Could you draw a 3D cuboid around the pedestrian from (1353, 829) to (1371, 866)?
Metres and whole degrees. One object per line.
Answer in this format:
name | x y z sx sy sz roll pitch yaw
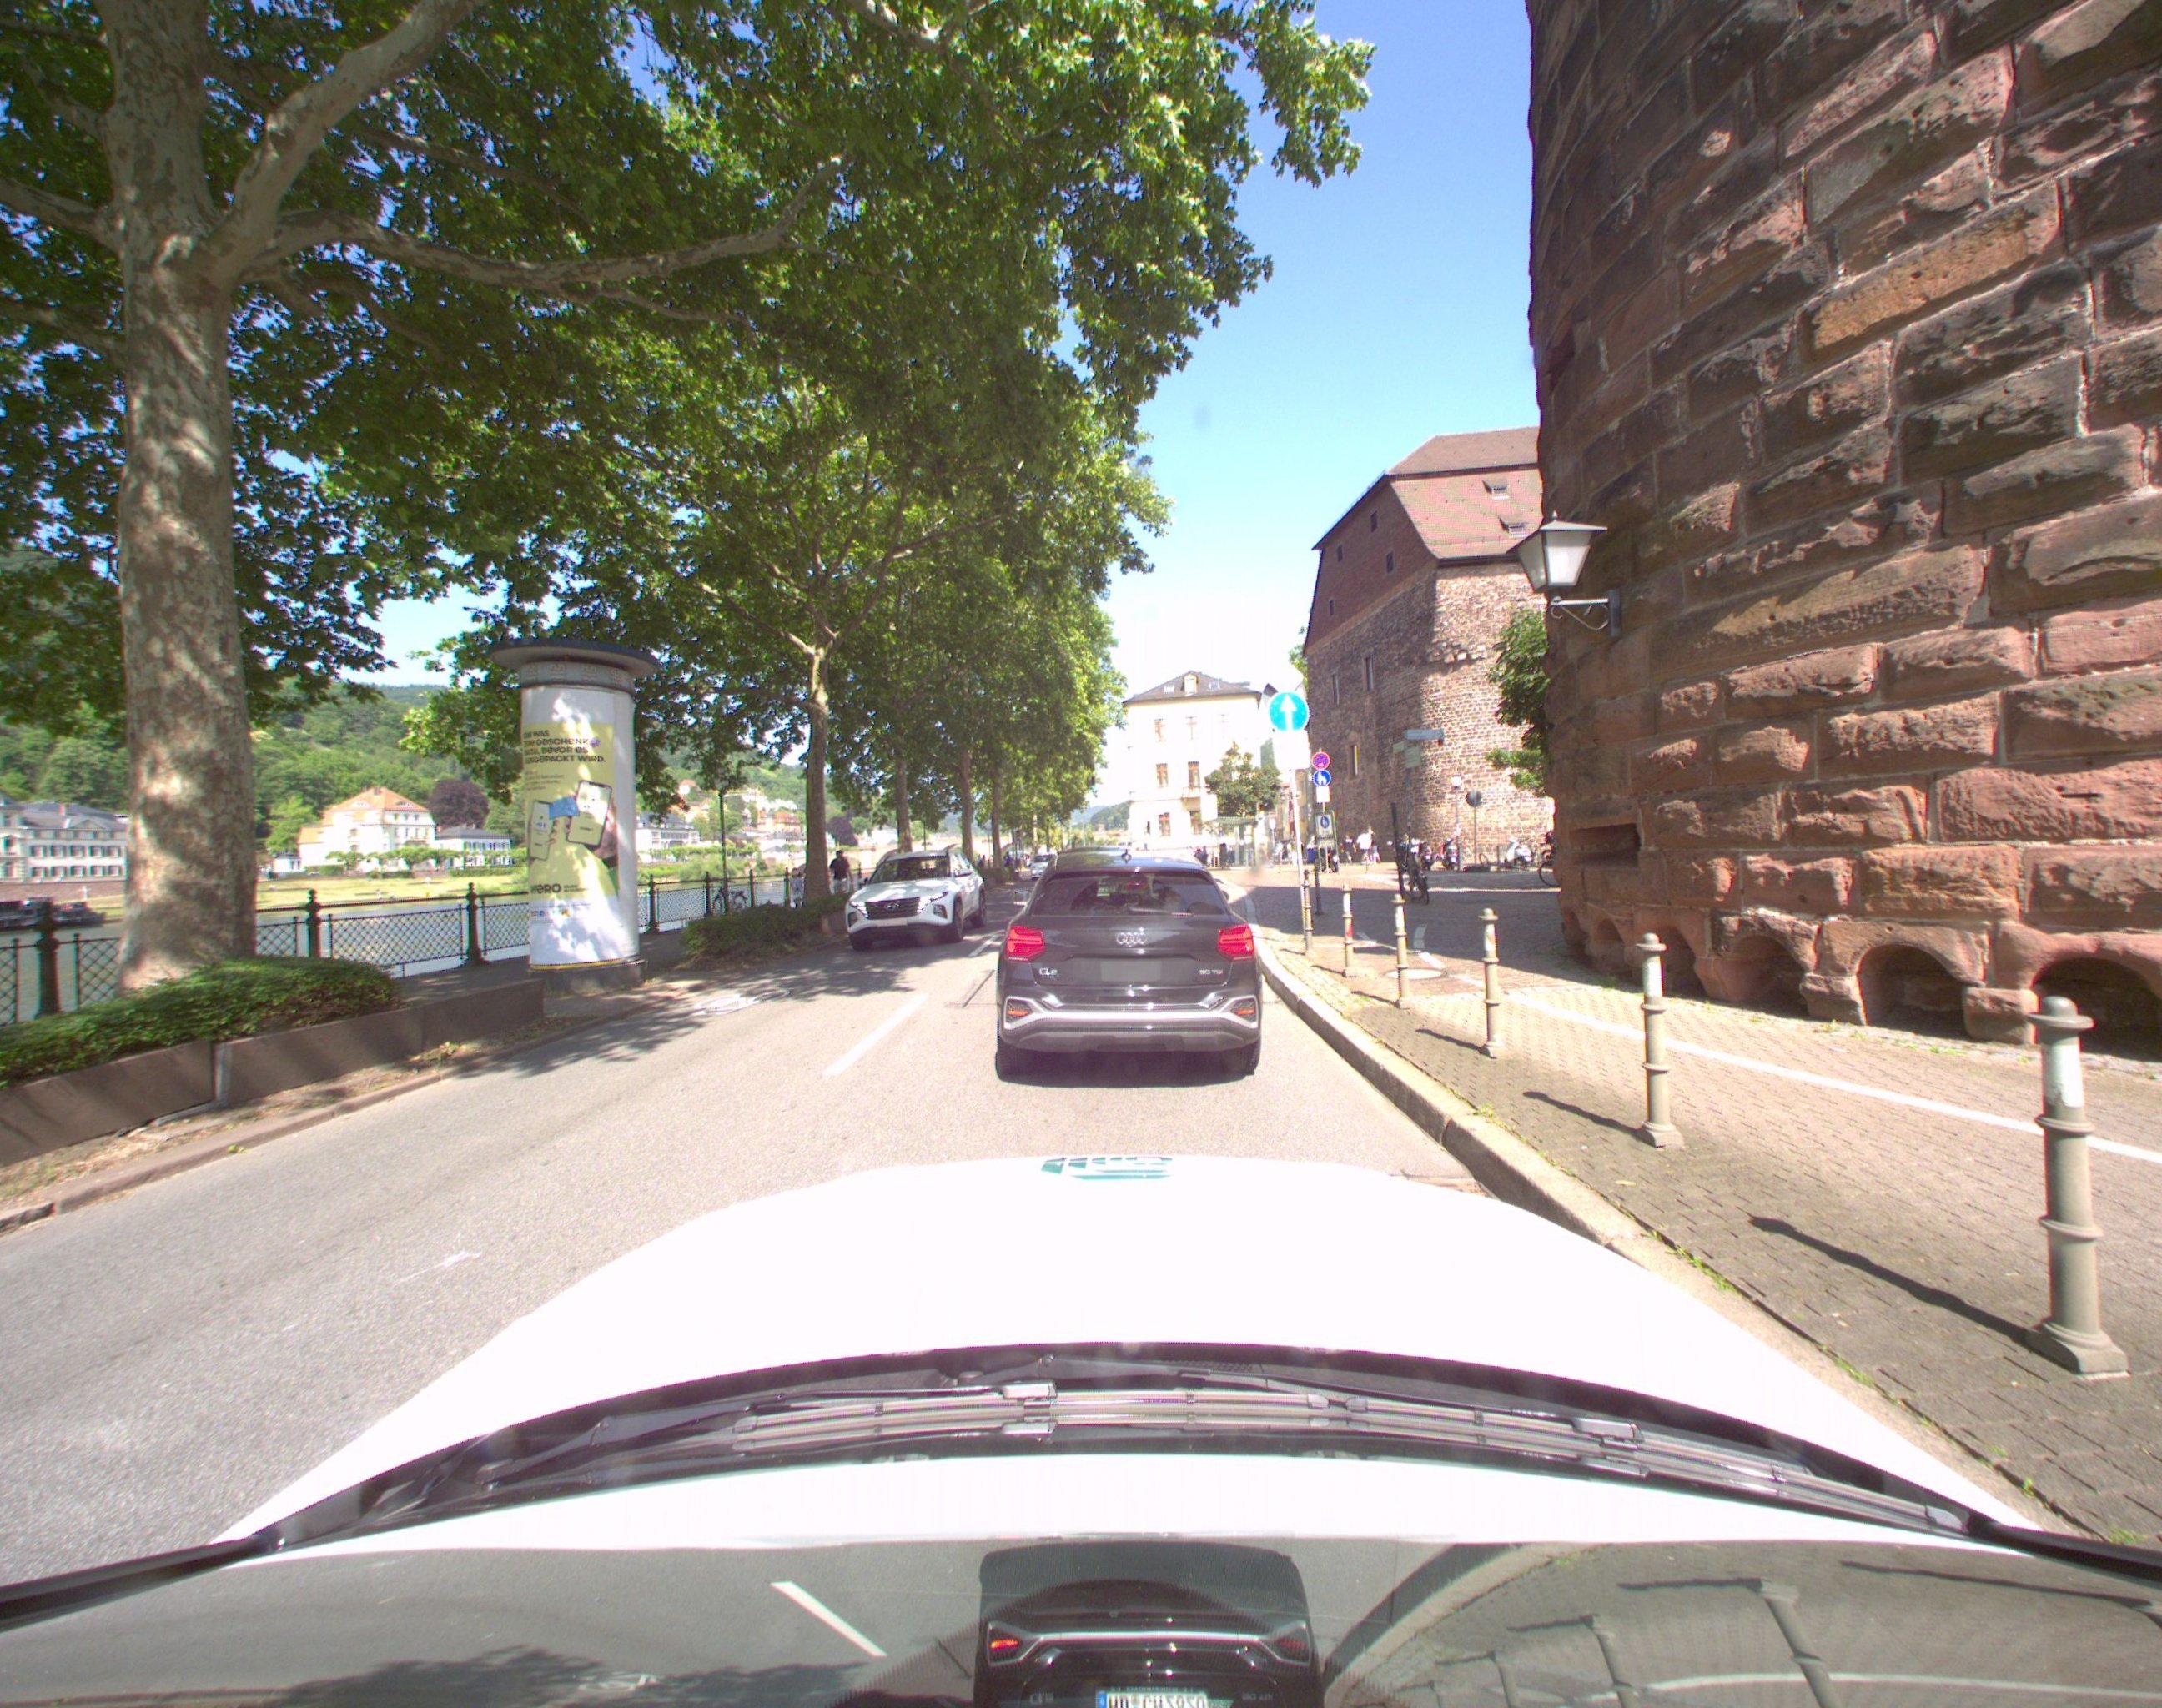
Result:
pedestrian | 14.448 -0.340 41.898 0.666 1.884 0.821 0 -1 1

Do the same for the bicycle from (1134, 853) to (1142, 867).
bicycle | 4.276 0.448 61.135 0.436 1.086 1.675 0 -1 -2

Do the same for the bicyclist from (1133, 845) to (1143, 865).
bicyclist | 4.277 0.079 61.111 0.604 1.450 0.590 0 -1 -3

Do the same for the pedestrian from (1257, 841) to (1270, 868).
pedestrian | 9.543 0.011 42.617 0.555 1.385 0.588 -1 -1 4

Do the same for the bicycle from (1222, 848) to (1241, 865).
bicycle | 9.055 0.163 48.925 1.205 1.035 0.178 0 -1 -17

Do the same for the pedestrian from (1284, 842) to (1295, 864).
pedestrian | 19.139 -0.071 74.738 0.836 2.014 0.738 0 -1 2

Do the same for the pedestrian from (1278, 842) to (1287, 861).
pedestrian | 16.831 -0.225 67.997 0.620 1.532 0.466 0 -1 -1

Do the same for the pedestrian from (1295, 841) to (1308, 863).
pedestrian | 20.242 -0.215 74.766 0.936 2.014 0.808 0 -1 2

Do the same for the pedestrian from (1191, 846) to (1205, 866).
pedestrian | 6.909 0.118 48.114 0.662 1.211 0.640 0 -1 -5

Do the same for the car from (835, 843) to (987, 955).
car | -2.974 0.726 15.138 1.762 1.660 4.001 -5 0 1

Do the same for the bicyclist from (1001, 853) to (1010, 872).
bicyclist | -5.221 0.582 56.103 0.565 1.311 0.551 0 -1 -3

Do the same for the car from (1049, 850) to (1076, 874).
car | -1.487 0.623 68.127 1.806 1.725 4.423 -8 0 2

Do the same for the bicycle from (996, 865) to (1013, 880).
bicycle | -5.268 1.260 56.115 1.091 1.006 0.303 -1 -1 -5

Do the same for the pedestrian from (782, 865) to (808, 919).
pedestrian | -7.451 0.987 21.254 0.476 1.362 0.418 -1 0 5

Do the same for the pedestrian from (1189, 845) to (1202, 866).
pedestrian | 6.862 0.099 48.866 0.662 1.231 0.640 0 -1 -5

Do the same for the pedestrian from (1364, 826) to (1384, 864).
pedestrian | 15.600 -0.485 43.387 0.727 2.014 0.878 0 -1 1

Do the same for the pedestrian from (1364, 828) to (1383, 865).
pedestrian | 15.233 -0.390 42.405 0.666 1.920 0.821 0 -1 1

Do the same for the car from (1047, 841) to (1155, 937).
car | 0.390 0.582 15.287 1.786 1.595 3.400 0 0 2

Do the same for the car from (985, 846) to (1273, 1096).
car | 0.347 0.696 6.756 1.736 1.509 3.649 0 0 2

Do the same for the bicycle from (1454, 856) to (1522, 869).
bicycle | 13.633 0.284 27.358 1.914 0.381 0.921 -2 -1 16

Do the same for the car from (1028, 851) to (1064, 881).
car | -2.111 0.675 49.731 1.732 1.572 4.093 -6 0 2

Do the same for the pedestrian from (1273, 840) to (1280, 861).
pedestrian | 16.278 -0.283 67.970 0.448 1.680 0.466 0 -1 -1

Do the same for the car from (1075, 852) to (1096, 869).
car | 0.516 0.678 87.196 1.985 1.806 4.003 -1 -1 3

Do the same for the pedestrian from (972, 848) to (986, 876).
pedestrian | -7.276 0.585 58.133 0.906 2.014 0.587 -1 -1 6

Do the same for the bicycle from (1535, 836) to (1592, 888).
bicycle | 11.521 0.178 19.486 0.444 1.162 1.733 -2 0 5

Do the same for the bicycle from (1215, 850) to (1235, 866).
bicycle | 8.759 0.242 49.536 1.187 1.016 0.178 0 -1 -17

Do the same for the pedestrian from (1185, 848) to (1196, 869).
pedestrian | 7.914 0.328 58.698 0.691 1.500 0.513 0 -1 -3

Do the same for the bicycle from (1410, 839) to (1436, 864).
bicycle | 16.787 -0.125 40.043 0.388 1.209 1.715 0 -1 -6

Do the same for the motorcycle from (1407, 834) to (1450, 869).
motorcycle | 12.820 -0.081 30.099 0.672 1.235 2.313 0 -1 2

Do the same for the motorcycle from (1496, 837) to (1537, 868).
motorcycle | 15.526 -0.057 29.089 0.505 1.073 1.841 0 -1 2

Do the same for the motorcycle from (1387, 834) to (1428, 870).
motorcycle | 11.984 -0.067 29.924 0.653 1.266 2.201 -2 -1 2

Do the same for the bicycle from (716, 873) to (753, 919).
bicycle | -8.892 1.057 20.956 0.358 1.091 1.296 1 0 1

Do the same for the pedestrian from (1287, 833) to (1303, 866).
pedestrian | 12.287 -0.234 46.843 0.744 1.890 0.753 -1 -1 4

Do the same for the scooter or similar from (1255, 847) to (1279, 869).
scooter or similar | 8.986 0.181 39.334 1.085 1.066 0.323 0 -1 -1

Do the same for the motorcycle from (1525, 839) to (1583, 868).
motorcycle | 17.890 -0.014 30.810 1.854 1.054 0.481 -1 -1 9

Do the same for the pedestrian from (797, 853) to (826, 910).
pedestrian | -8.224 0.838 24.865 0.599 1.685 0.583 -3 0 0

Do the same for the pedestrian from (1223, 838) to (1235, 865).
pedestrian | 11.057 -0.194 60.946 0.632 2.014 0.670 -1 -1 31

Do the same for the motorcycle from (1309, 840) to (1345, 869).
motorcycle | 9.043 0.006 30.058 0.564 1.012 2.490 -2 0 1

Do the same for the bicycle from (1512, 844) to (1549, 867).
bicycle | 16.621 0.055 30.139 0.352 0.820 1.926 0 1 1

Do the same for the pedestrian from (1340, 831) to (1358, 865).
pedestrian | 14.178 -0.315 43.080 0.649 1.802 0.847 -1 0 1

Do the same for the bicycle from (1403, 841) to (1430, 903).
bicycle | 6.877 0.331 16.724 0.192 1.203 1.775 -2 1 13

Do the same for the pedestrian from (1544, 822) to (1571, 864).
pedestrian | 19.033 -0.437 32.547 0.799 1.662 0.660 -3 0 26

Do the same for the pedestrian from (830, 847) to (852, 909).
pedestrian | -7.394 0.739 25.122 0.532 1.887 0.437 0 0 1

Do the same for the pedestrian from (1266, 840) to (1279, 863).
pedestrian | 17.347 -0.207 73.843 0.941 2.014 0.808 0 -1 2

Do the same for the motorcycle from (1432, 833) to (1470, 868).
motorcycle | 13.706 -0.111 30.217 0.544 1.235 2.031 0 -1 2

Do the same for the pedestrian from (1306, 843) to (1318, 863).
pedestrian | 19.643 -0.078 69.256 0.684 1.612 0.896 -3 0 25
